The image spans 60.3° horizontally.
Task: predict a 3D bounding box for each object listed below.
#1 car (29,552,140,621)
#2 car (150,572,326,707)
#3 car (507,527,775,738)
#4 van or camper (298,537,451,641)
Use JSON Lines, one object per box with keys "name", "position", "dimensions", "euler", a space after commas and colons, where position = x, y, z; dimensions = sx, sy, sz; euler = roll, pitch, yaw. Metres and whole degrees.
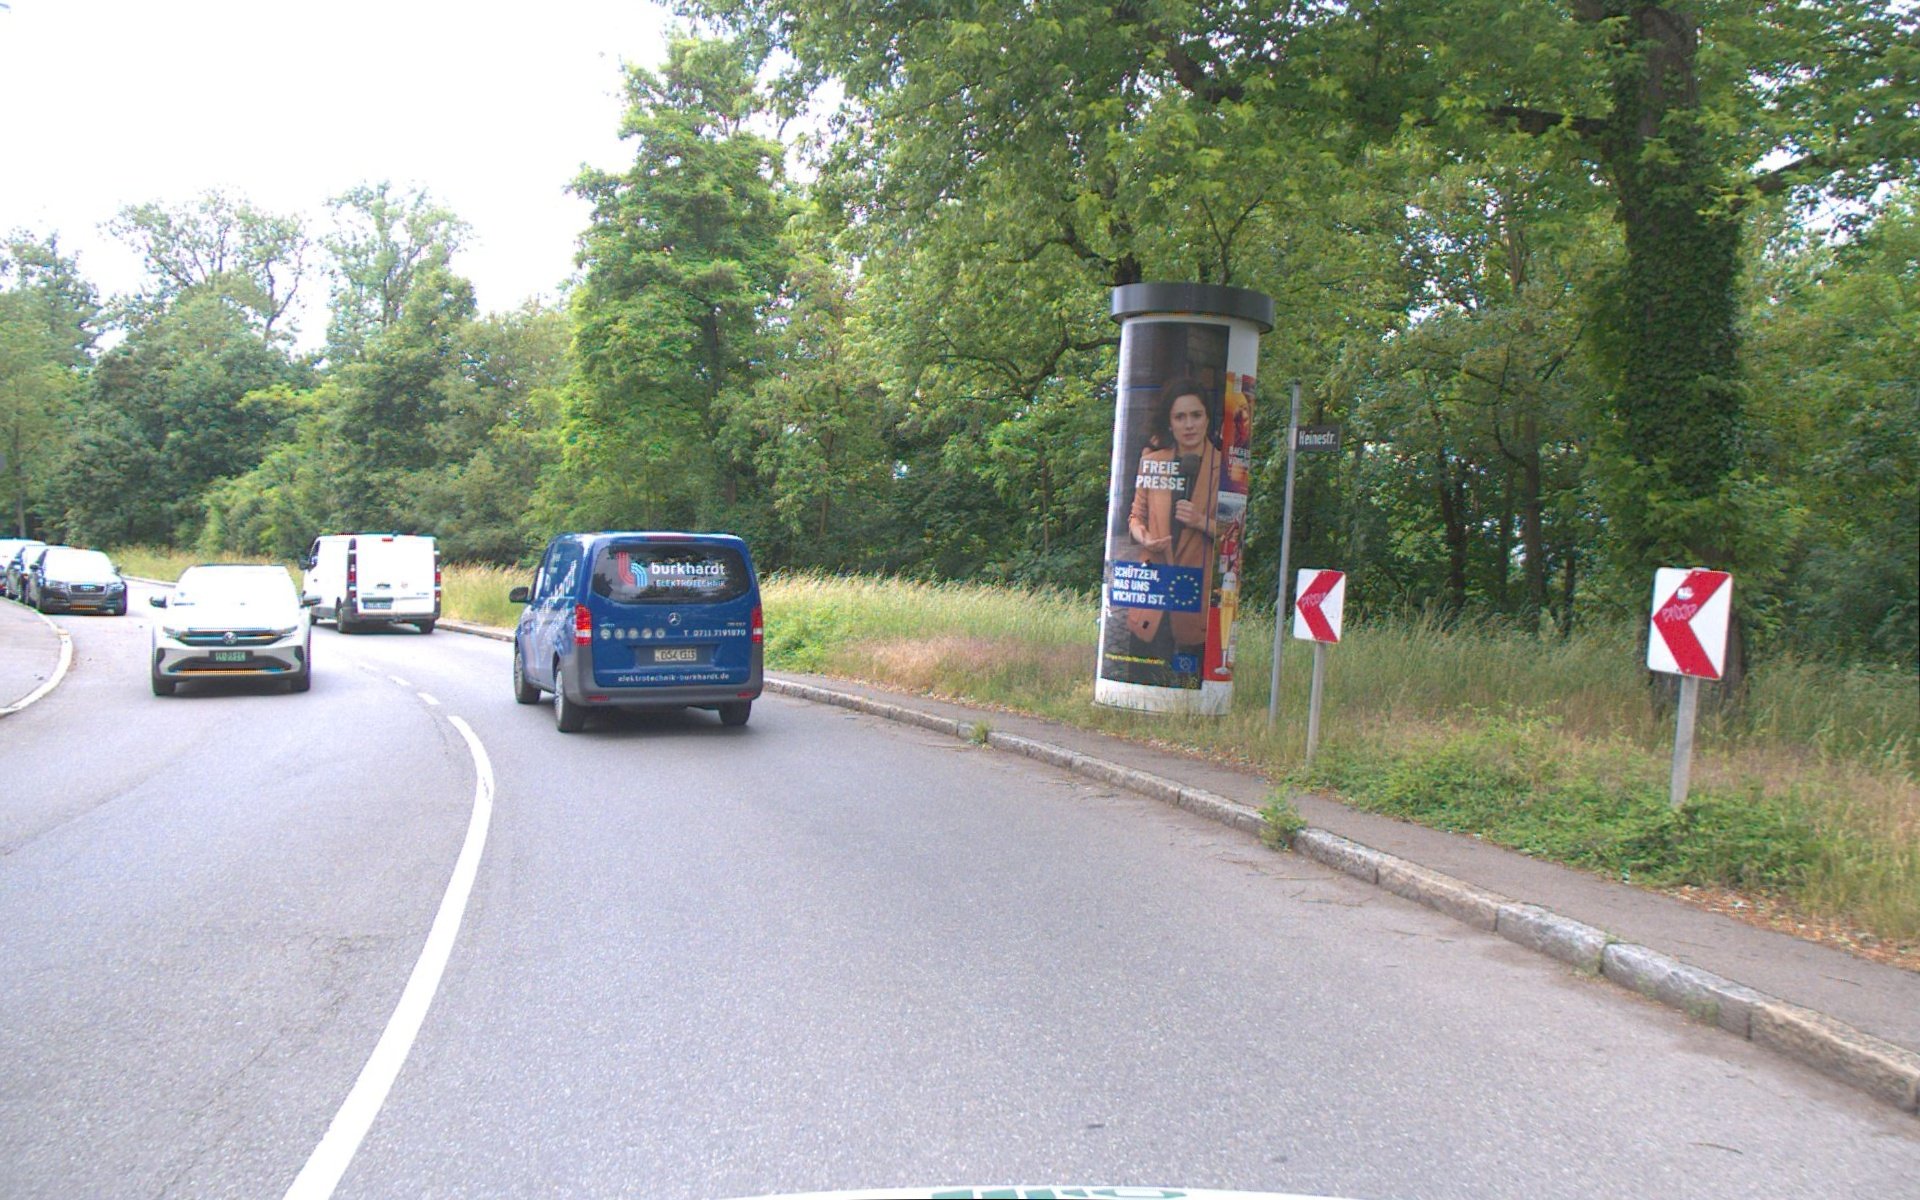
{"name": "car", "position": [-20.263, -0.340, 38.212], "dimensions": [1.720, 1.443, 4.449], "euler": [1, 2, -35]}
{"name": "car", "position": [-9.086, 0.415, 21.078], "dimensions": [1.698, 1.482, 4.056], "euler": [-2, 2, -19]}
{"name": "car", "position": [-3.409, 0.270, 16.998], "dimensions": [1.887, 1.870, 4.264], "euler": [0, 0, -23]}
{"name": "van or camper", "position": [-12.231, -0.290, 34.343], "dimensions": [2.000, 1.991, 4.843], "euler": [0, 2, -32]}
